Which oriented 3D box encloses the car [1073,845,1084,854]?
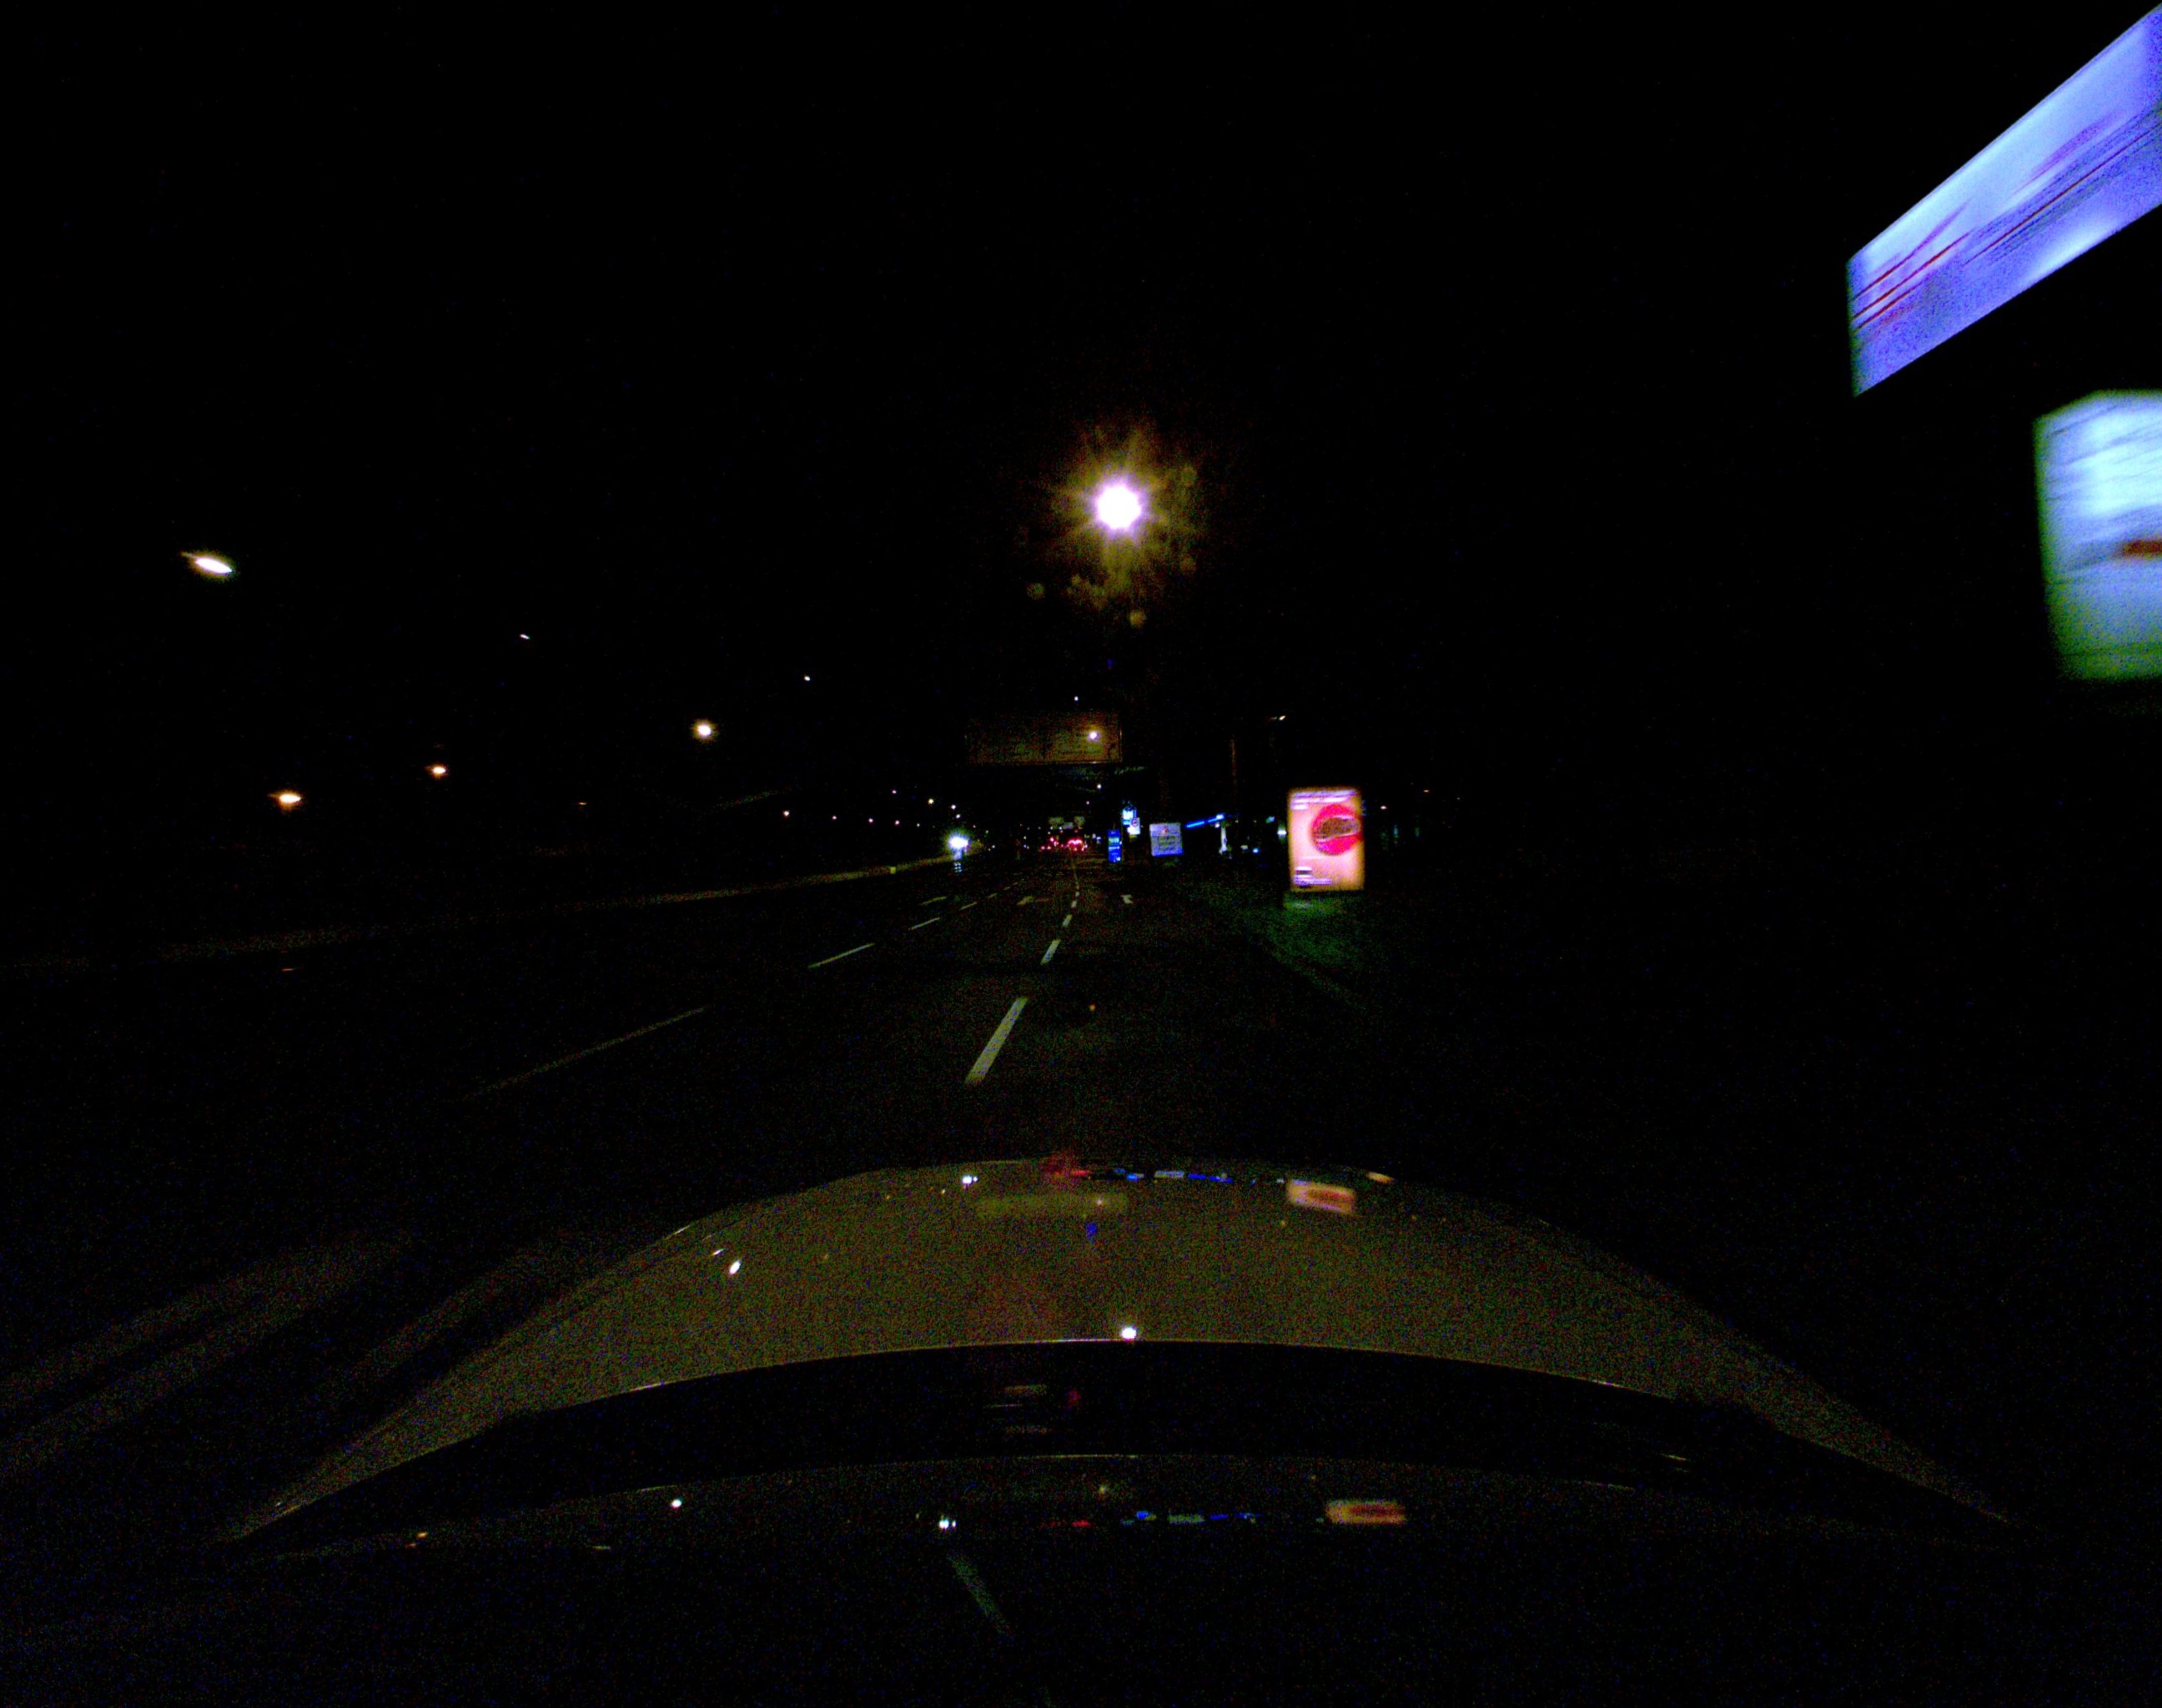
[{"bbox_3d":[-0.451,-0.870,158.725,1.961,1.711,4.001,0,0,1],"label":"car"}]

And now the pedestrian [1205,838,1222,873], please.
[{"bbox_3d":[7.501,0.058,46.228,0.800,1.913,0.795,-4,0,9],"label":"pedestrian"}]

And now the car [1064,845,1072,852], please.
[{"bbox_3d":[-3.139,-1.291,194.054,1.776,1.711,4.001,0,0,1],"label":"car"}]

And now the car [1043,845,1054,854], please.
[{"bbox_3d":[-6.687,-0.917,165.825,1.961,1.711,4.001,0,0,1],"label":"car"}]

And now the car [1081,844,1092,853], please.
[{"bbox_3d":[1.278,-1.382,200.821,2.642,2.014,5.300,0,0,1],"label":"car"}]

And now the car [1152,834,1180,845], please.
[{"bbox_3d":[13.148,-2.227,126.746,4.105,1.522,1.822,-3,-1,0],"label":"car"}]
